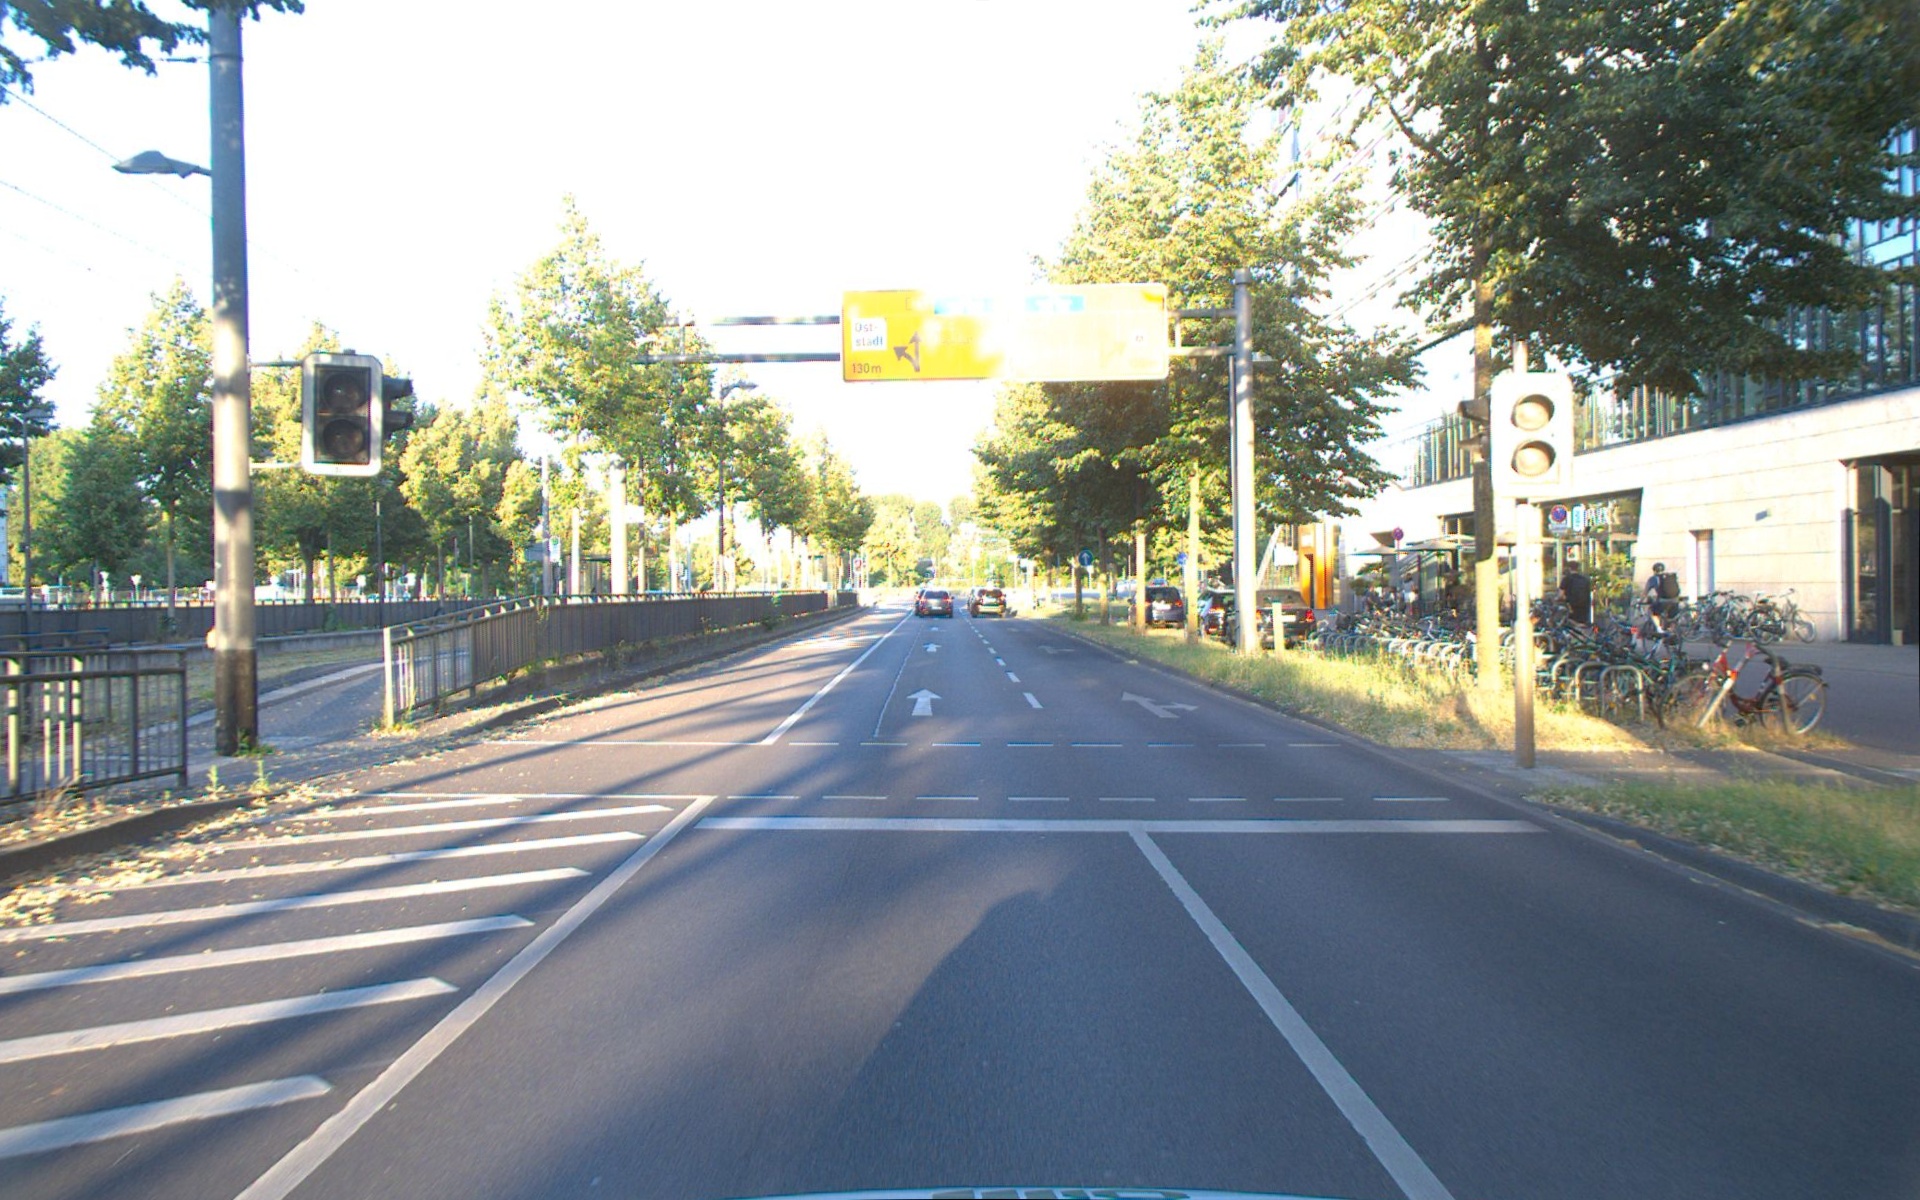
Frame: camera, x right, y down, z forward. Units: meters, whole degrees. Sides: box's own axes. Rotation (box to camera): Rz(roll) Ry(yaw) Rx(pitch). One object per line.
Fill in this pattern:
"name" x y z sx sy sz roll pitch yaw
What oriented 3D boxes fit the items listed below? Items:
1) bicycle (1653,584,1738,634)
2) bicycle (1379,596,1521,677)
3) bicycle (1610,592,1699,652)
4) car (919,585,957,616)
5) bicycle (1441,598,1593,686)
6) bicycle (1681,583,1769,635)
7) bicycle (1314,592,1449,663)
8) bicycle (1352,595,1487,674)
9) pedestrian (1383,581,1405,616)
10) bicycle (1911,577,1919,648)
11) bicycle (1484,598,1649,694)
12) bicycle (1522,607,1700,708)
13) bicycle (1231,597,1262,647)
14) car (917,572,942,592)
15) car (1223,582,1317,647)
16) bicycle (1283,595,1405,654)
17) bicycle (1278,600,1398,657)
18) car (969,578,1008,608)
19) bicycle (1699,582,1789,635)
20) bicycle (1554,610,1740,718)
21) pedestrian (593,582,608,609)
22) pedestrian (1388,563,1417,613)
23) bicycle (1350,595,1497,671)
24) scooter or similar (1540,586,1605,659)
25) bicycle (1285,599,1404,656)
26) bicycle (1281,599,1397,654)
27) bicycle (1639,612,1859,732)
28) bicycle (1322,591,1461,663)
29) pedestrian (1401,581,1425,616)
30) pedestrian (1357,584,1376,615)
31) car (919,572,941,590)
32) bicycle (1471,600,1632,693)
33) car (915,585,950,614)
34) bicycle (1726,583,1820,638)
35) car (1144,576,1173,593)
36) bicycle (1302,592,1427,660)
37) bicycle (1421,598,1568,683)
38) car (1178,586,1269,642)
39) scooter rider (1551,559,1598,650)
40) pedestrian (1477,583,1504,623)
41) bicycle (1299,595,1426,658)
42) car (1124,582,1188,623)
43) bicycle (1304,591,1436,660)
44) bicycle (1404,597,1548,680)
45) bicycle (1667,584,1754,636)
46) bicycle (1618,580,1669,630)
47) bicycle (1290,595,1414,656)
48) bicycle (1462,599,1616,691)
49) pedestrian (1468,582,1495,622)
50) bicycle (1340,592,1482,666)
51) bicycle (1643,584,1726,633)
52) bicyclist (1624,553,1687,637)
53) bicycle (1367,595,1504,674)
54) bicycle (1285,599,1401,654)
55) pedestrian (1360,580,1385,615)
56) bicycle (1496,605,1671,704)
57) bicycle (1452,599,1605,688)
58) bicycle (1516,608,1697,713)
"bicycle" 16.846 0.202 37.898 1.749 1.123 0.508 -1 0 -6
"bicycle" 7.072 0.525 23.893 1.903 1.072 0.404 3 0 -4
"bicycle" 13.408 0.401 31.977 0.756 1.098 2.062 -1 1 -3
"car" -1.132 0.015 84.695 1.873 1.512 3.999 -1 1 -2
"bicycle" 7.435 0.558 22.071 1.905 1.072 0.414 3 0 -9
"bicycle" 16.844 0.188 36.419 1.749 1.123 0.508 -1 0 -6
"bicycle" 7.029 0.456 27.615 2.102 1.072 0.524 3 0 -8
"bicycle" 6.900 0.517 24.858 1.905 1.072 0.404 3 0 -8
"pedestrian" 16.262 -0.067 61.966 0.567 1.305 0.738 -1 0 -5
"bicycle" 16.531 0.190 26.859 1.943 1.161 0.503 -1 0 -4
"bicycle" 7.476 0.565 20.395 1.905 1.072 0.408 3 0 -9
"bicycle" 7.576 0.664 19.252 1.907 1.072 0.543 3 0 -12
"bicycle" 5.998 0.449 34.686 0.312 0.997 1.846 -1 0 0
"car" -2.344 -1.381 125.619 1.873 1.512 3.999 -1 1 -2
"car" 7.507 0.319 40.341 1.543 1.497 3.881 -1 0 0
"bicycle" 6.961 0.440 30.018 2.102 0.956 0.442 3 0 -8
"bicycle" 6.964 0.525 30.496 2.102 0.956 0.451 3 0 -8
"car" 1.471 -0.399 86.880 1.873 1.512 3.999 0 1 -2
"bicycle" 16.964 0.181 35.802 1.749 1.123 0.508 -1 0 -6
"bicycle" 7.446 0.689 17.933 1.910 1.072 0.543 3 0 -16
"pedestrian" -17.933 -0.246 82.481 0.602 1.342 0.744 -1 0 -4
"pedestrian" 15.660 -0.418 58.527 0.696 1.767 0.682 -1 0 -31
"bicycle" 7.179 0.507 25.653 2.102 1.072 0.570 3 0 -8
"scooter or similar" 11.432 0.400 30.928 0.515 1.333 1.663 -1 0 -3
"bicycle" 7.175 0.515 30.877 2.102 0.956 0.442 3 0 -8
"bicycle" 7.251 0.504 31.642 2.102 0.956 0.442 3 0 -8
"bicycle" 7.864 0.708 16.514 1.902 1.072 0.545 3 0 -2
"bicycle" 7.045 0.439 27.005 2.102 1.072 0.570 3 0 -8
"pedestrian" 16.977 -0.057 62.006 0.570 1.305 0.735 -1 0 -19
"pedestrian" 16.118 -0.007 65.586 0.560 1.207 0.861 -1 0 0
"car" -2.572 -1.604 142.552 1.873 1.512 3.999 -1 1 -2
"bicycle" 7.444 0.587 20.829 1.905 1.072 0.408 3 0 -9
"car" -1.533 -0.031 91.153 1.873 1.512 3.999 -1 1 -2
"bicycle" 16.902 0.210 34.408 1.749 1.123 0.508 -1 0 -6
"car" 21.164 -1.653 176.276 1.953 1.758 3.999 -1 1 23
"bicycle" 7.001 0.446 28.647 2.102 1.072 0.300 3 0 -8
"bicycle" 7.336 0.554 22.710 1.905 1.072 0.414 3 0 -9
"car" 7.475 0.365 47.303 1.742 1.497 4.286 -1 0 -3
"scooter rider" 11.439 0.083 30.785 0.515 1.667 0.831 -1 0 -3
"pedestrian" 16.154 0.084 50.368 0.559 1.216 0.807 -1 0 1
"bicycle" 7.071 0.467 29.069 2.102 1.004 0.442 3 0 -8
"car" 7.369 0.065 62.481 1.722 1.491 4.156 -1 1 -3
"bicycle" 6.981 0.432 28.184 2.102 1.072 0.524 3 0 -8
"bicycle" 7.249 0.541 23.249 1.905 1.072 0.414 3 0 -9
"bicycle" 16.819 0.220 37.089 1.749 1.123 0.508 -1 0 -6
"bicycle" 17.469 0.110 42.326 0.460 1.229 2.264 -1 0 3
"bicycle" 7.001 0.455 29.545 2.102 0.990 0.442 3 0 -8
"bicycle" 7.431 0.578 21.235 1.905 1.072 0.314 3 0 -9
"pedestrian" 16.171 0.064 51.311 0.560 1.216 0.806 -1 0 -1
"bicycle" 7.188 0.457 26.393 2.102 1.072 0.561 3 0 -8
"bicycle" 16.845 0.190 38.454 1.749 1.123 0.508 -1 0 -6
"bicyclist" 13.396 -0.100 31.872 0.756 1.594 0.991 -1 0 -3
"bicycle" 7.004 0.507 24.372 1.905 1.072 0.404 3 0 -8
"bicycle" 7.448 0.521 32.170 2.102 0.956 0.544 3 0 -8
"pedestrian" 15.528 -0.083 62.261 0.617 1.305 0.712 -1 0 -22
"bicycle" 7.492 0.652 19.890 1.905 1.072 0.544 3 0 -9
"bicycle" 7.422 0.568 21.595 1.905 1.072 0.347 3 0 -9
"bicycle" 7.225 0.673 18.495 1.910 1.072 0.543 3 0 -16
